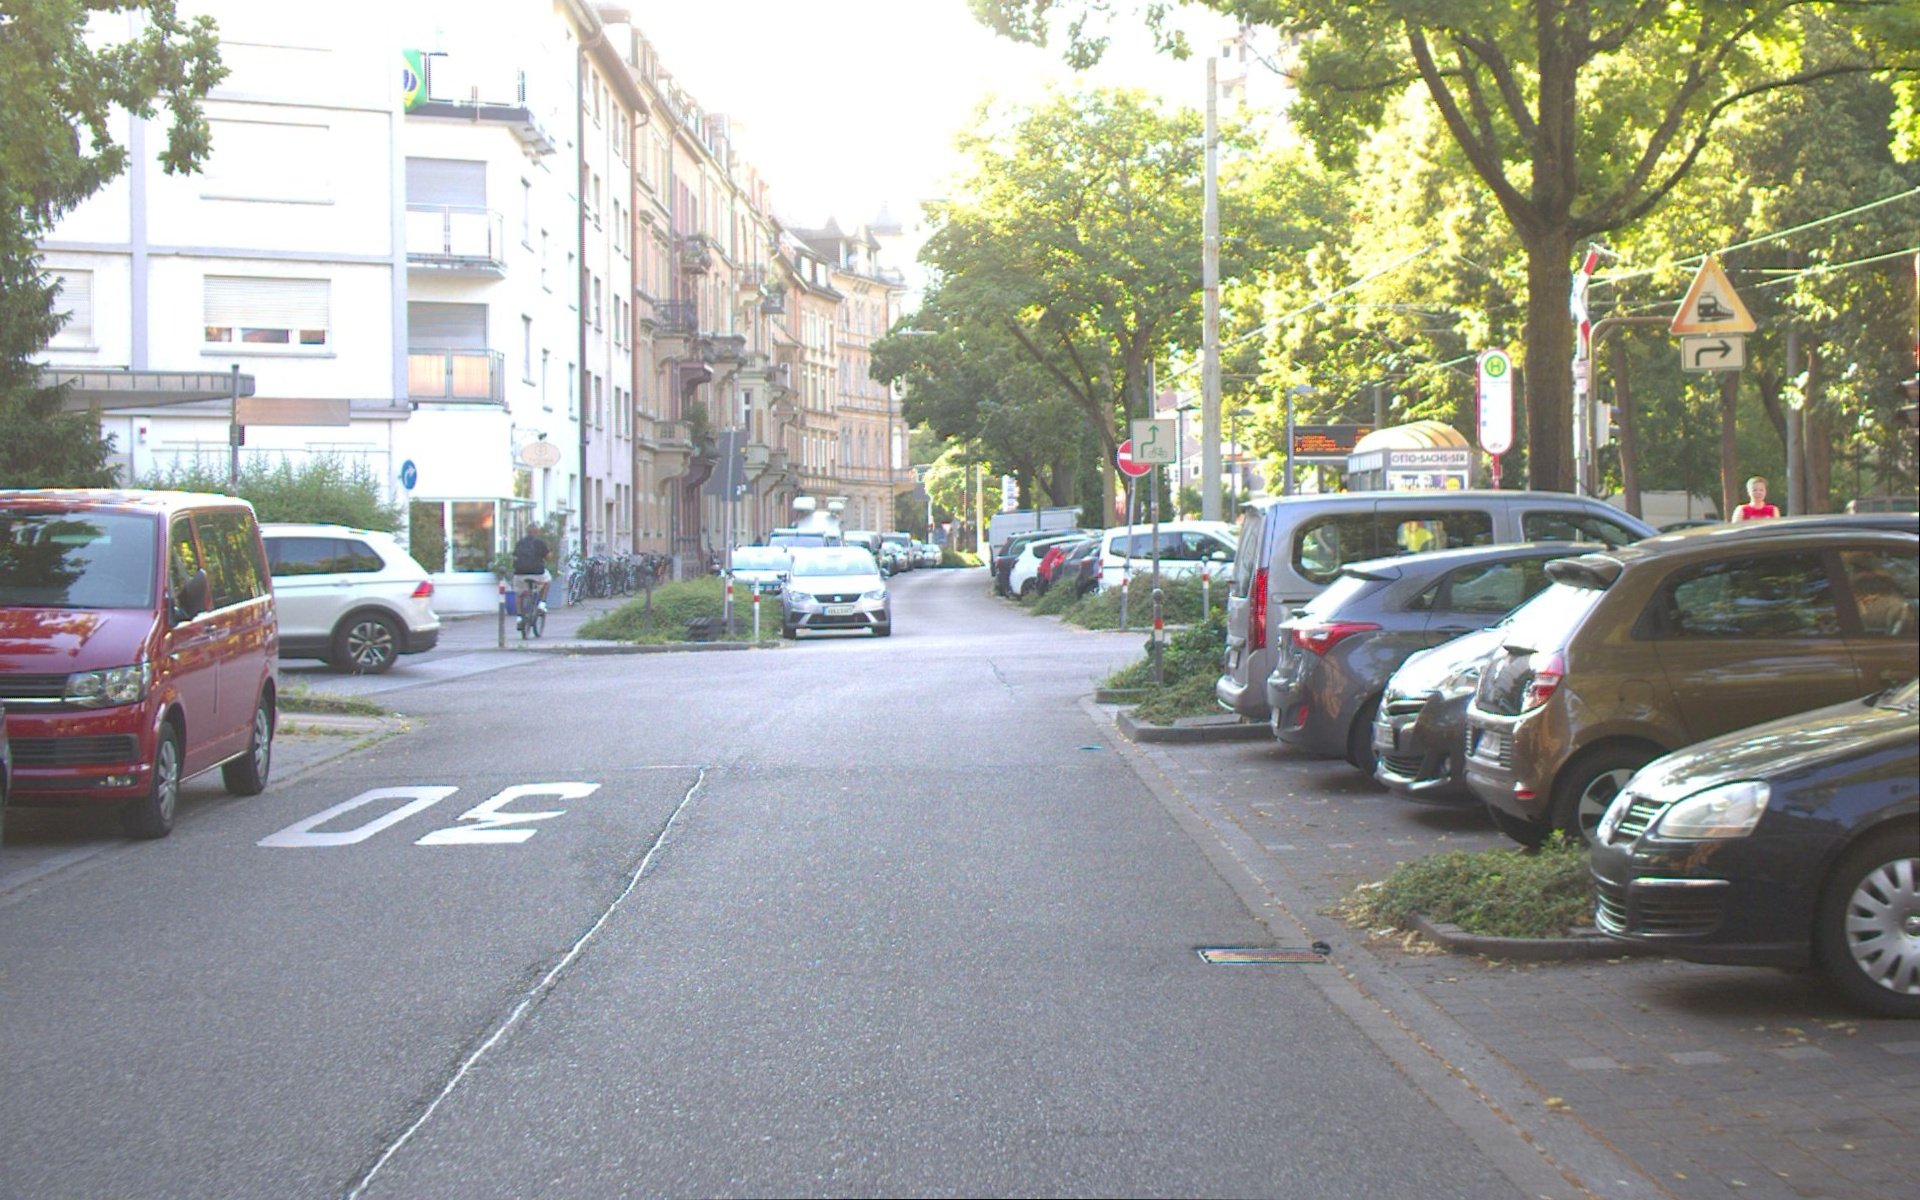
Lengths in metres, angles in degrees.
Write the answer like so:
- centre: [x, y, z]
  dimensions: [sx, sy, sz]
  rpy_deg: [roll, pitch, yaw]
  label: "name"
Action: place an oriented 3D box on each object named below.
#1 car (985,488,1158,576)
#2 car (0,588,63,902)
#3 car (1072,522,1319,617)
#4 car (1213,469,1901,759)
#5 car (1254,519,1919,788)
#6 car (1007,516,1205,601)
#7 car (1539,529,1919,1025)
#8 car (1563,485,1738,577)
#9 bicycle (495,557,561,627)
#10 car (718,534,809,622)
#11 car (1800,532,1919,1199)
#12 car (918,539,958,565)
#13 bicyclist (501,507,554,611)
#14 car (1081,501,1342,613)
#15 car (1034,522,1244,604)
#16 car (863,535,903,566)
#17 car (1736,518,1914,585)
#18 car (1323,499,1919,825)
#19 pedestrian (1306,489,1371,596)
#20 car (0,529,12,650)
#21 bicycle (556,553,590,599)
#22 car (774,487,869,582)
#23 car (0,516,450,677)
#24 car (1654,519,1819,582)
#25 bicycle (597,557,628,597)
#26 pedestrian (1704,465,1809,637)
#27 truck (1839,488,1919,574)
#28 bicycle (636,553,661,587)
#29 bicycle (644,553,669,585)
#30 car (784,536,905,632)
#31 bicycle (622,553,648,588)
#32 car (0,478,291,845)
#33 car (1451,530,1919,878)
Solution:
- centre: [3.789, -2.320, 117.079]
  dimensions: [5.259, 2.563, 2.270]
  rpy_deg: [-4, 1, 28]
  label: "car"
- centre: [-5.338, 0.687, 14.671]
  dimensions: [1.776, 1.429, 4.270]
  rpy_deg: [1, 1, 2]
  label: "car"
- centre: [4.411, -0.574, 64.360]
  dimensions: [4.197, 1.432, 1.699]
  rpy_deg: [-4, 1, 25]
  label: "car"
- centre: [4.112, 0.093, 24.289]
  dimensions: [4.539, 1.908, 1.950]
  rpy_deg: [-1, 0, 2]
  label: "car"
- centre: [4.187, 0.314, 21.614]
  dimensions: [4.539, 1.567, 1.950]
  rpy_deg: [-1, 0, 2]
  label: "car"
- centre: [3.438, -0.979, 81.287]
  dimensions: [4.236, 1.645, 1.854]
  rpy_deg: [-4, 1, 36]
  label: "car"
- centre: [4.505, 0.533, 11.858]
  dimensions: [4.700, 1.567, 2.000]
  rpy_deg: [-1, 0, 2]
  label: "car"
- centre: [19.721, -1.984, 98.234]
  dimensions: [4.493, 2.468, 1.816]
  rpy_deg: [2, 0, 31]
  label: "car"
- centre: [-6.783, -0.137, 54.067]
  dimensions: [0.712, 1.047, 2.348]
  rpy_deg: [-1, 1, 0]
  label: "bicycle"
- centre: [-3.943, -0.466, 69.342]
  dimensions: [1.710, 1.667, 4.001]
  rpy_deg: [-2, 1, -3]
  label: "car"
- centre: [4.234, 0.619, 6.725]
  dimensions: [4.700, 1.567, 2.000]
  rpy_deg: [-1, 0, 2]
  label: "car"
- centre: [-1.288, -2.820, 201.809]
  dimensions: [1.711, 1.441, 3.999]
  rpy_deg: [-2, 1, 8]
  label: "car"
- centre: [-6.790, -0.644, 54.026]
  dimensions: [0.712, 1.611, 0.724]
  rpy_deg: [-1, 1, 0]
  label: "bicyclist"
- centre: [4.431, -0.754, 60.842]
  dimensions: [4.234, 1.647, 1.605]
  rpy_deg: [-4, 1, 31]
  label: "car"
- centre: [3.940, -0.809, 75.714]
  dimensions: [4.232, 1.453, 1.606]
  rpy_deg: [-4, 1, 24]
  label: "car"
- centre: [-3.855, -2.505, 172.976]
  dimensions: [1.711, 1.441, 4.000]
  rpy_deg: [-2, 1, 2]
  label: "car"
- centre: [20.100, -1.127, 79.861]
  dimensions: [3.820, 1.386, 1.736]
  rpy_deg: [2, 0, 19]
  label: "car"
- centre: [4.432, 0.306, 19.306]
  dimensions: [4.434, 1.685, 1.950]
  rpy_deg: [-1, 0, -6]
  label: "car"
- centre: [6.806, -1.033, 61.797]
  dimensions: [0.850, 1.904, 0.836]
  rpy_deg: [0, 1, 33]
  label: "pedestrian"
- centre: [-13.725, -0.072, 40.948]
  dimensions: [4.282, 1.445, 1.923]
  rpy_deg: [-1, 2, 2]
  label: "car"
- centre: [-8.865, -0.557, 78.789]
  dimensions: [0.531, 1.000, 2.176]
  rpy_deg: [-1, 1, 0]
  label: "bicycle"
- centre: [-4.409, -2.120, 110.539]
  dimensions: [2.552, 2.877, 5.481]
  rpy_deg: [-2, 1, 2]
  label: "car"
- centre: [-8.114, -0.072, 37.913]
  dimensions: [4.518, 1.641, 1.943]
  rpy_deg: [-1, 1, -29]
  label: "car"
- centre: [19.471, -1.243, 86.238]
  dimensions: [3.820, 1.416, 1.736]
  rpy_deg: [2, 0, 19]
  label: "car"
- centre: [-9.021, -0.613, 89.353]
  dimensions: [0.626, 1.000, 2.176]
  rpy_deg: [-1, 1, -1]
  label: "bicycle"
- centre: [8.983, -0.559, 38.826]
  dimensions: [0.902, 1.912, 1.150]
  rpy_deg: [-1, 1, 0]
  label: "pedestrian"
- centre: [26.541, -1.951, 96.892]
  dimensions: [2.366, 2.344, 4.384]
  rpy_deg: [-1, 1, 0]
  label: "truck"
- centre: [-9.525, -0.930, 105.149]
  dimensions: [0.626, 1.000, 2.176]
  rpy_deg: [-1, 1, -1]
  label: "bicycle"
- centre: [-9.550, -0.982, 108.355]
  dimensions: [0.626, 1.000, 2.176]
  rpy_deg: [-1, 1, -1]
  label: "bicycle"
- centre: [-1.925, -0.289, 56.302]
  dimensions: [1.710, 1.441, 4.001]
  rpy_deg: [-2, 1, -5]
  label: "car"
- centre: [-9.707, -0.879, 102.688]
  dimensions: [0.626, 1.000, 2.176]
  rpy_deg: [-1, 1, -1]
  label: "bicycle"
- centre: [-5.300, 0.261, 20.566]
  dimensions: [1.776, 1.927, 4.773]
  rpy_deg: [1, 1, -2]
  label: "car"
- centre: [4.773, 0.453, 16.648]
  dimensions: [4.539, 1.567, 1.950]
  rpy_deg: [-1, 0, 2]
  label: "car"
